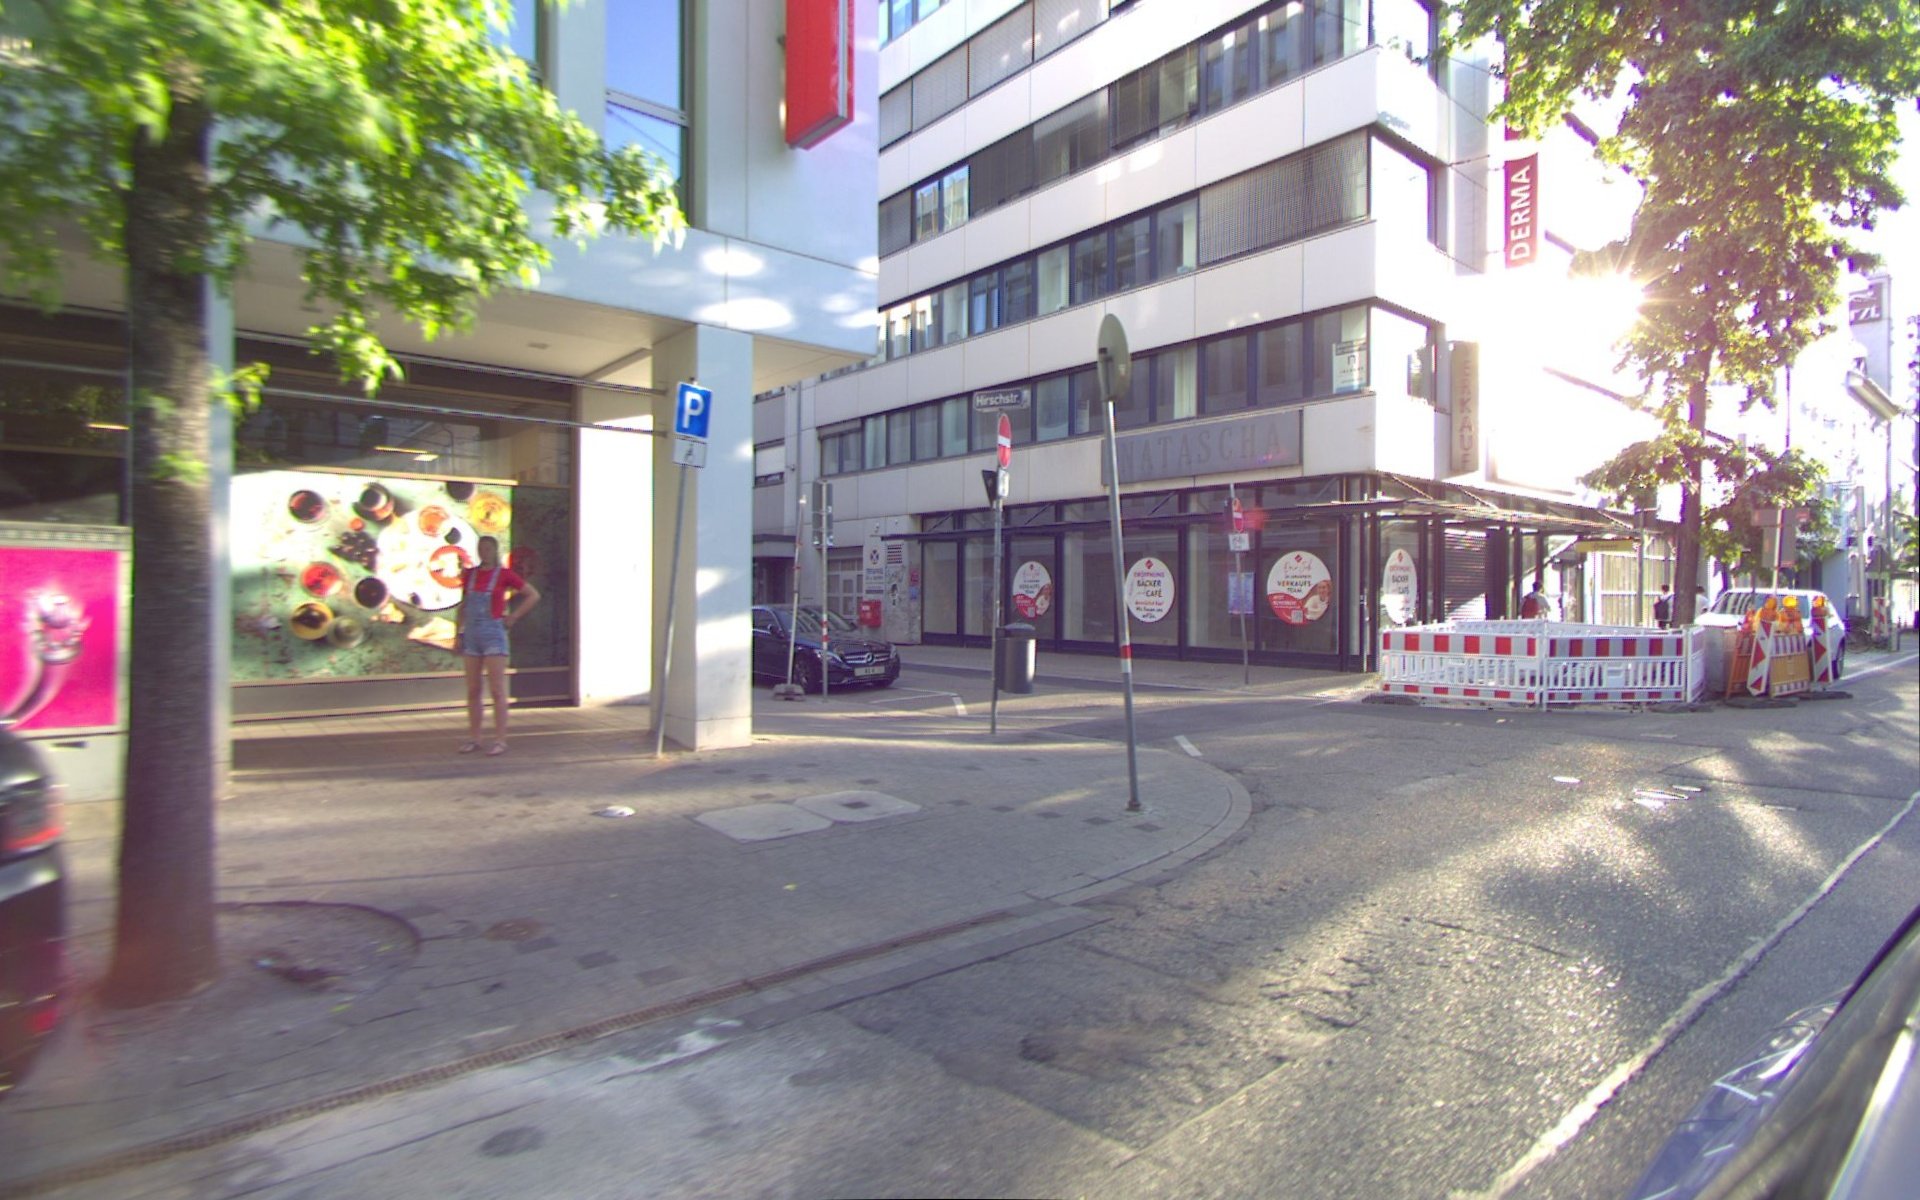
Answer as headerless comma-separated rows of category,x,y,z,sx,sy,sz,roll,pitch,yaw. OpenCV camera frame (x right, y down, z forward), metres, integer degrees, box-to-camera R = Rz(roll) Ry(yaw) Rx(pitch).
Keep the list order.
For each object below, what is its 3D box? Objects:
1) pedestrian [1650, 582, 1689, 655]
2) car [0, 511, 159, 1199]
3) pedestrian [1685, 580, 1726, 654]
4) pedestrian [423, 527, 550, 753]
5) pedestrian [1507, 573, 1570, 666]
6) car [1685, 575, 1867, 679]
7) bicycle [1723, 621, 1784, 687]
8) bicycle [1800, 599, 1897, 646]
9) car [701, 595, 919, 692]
pedestrian,18.371,0.456,26.205,0.623,1.853,0.689,0,0,-40
car,-4.528,0.607,2.497,4.612,1.785,1.981,3,2,21
pedestrian,18.968,0.428,25.748,0.623,1.853,0.706,0,0,-40
pedestrian,-4.011,0.312,8.636,0.786,1.840,0.758,1,2,-7
pedestrian,12.278,0.388,21.487,0.901,1.921,0.836,0,1,-37
car,16.368,0.437,20.214,4.823,1.758,2.027,0,3,-42
bicycle,13.230,0.868,16.850,1.897,0.994,0.493,0,1,-42
bicycle,24.385,0.602,27.801,0.824,1.148,1.820,-1,3,-32
car,-2.771,0.663,17.982,1.766,1.436,4.322,-3,2,-41
